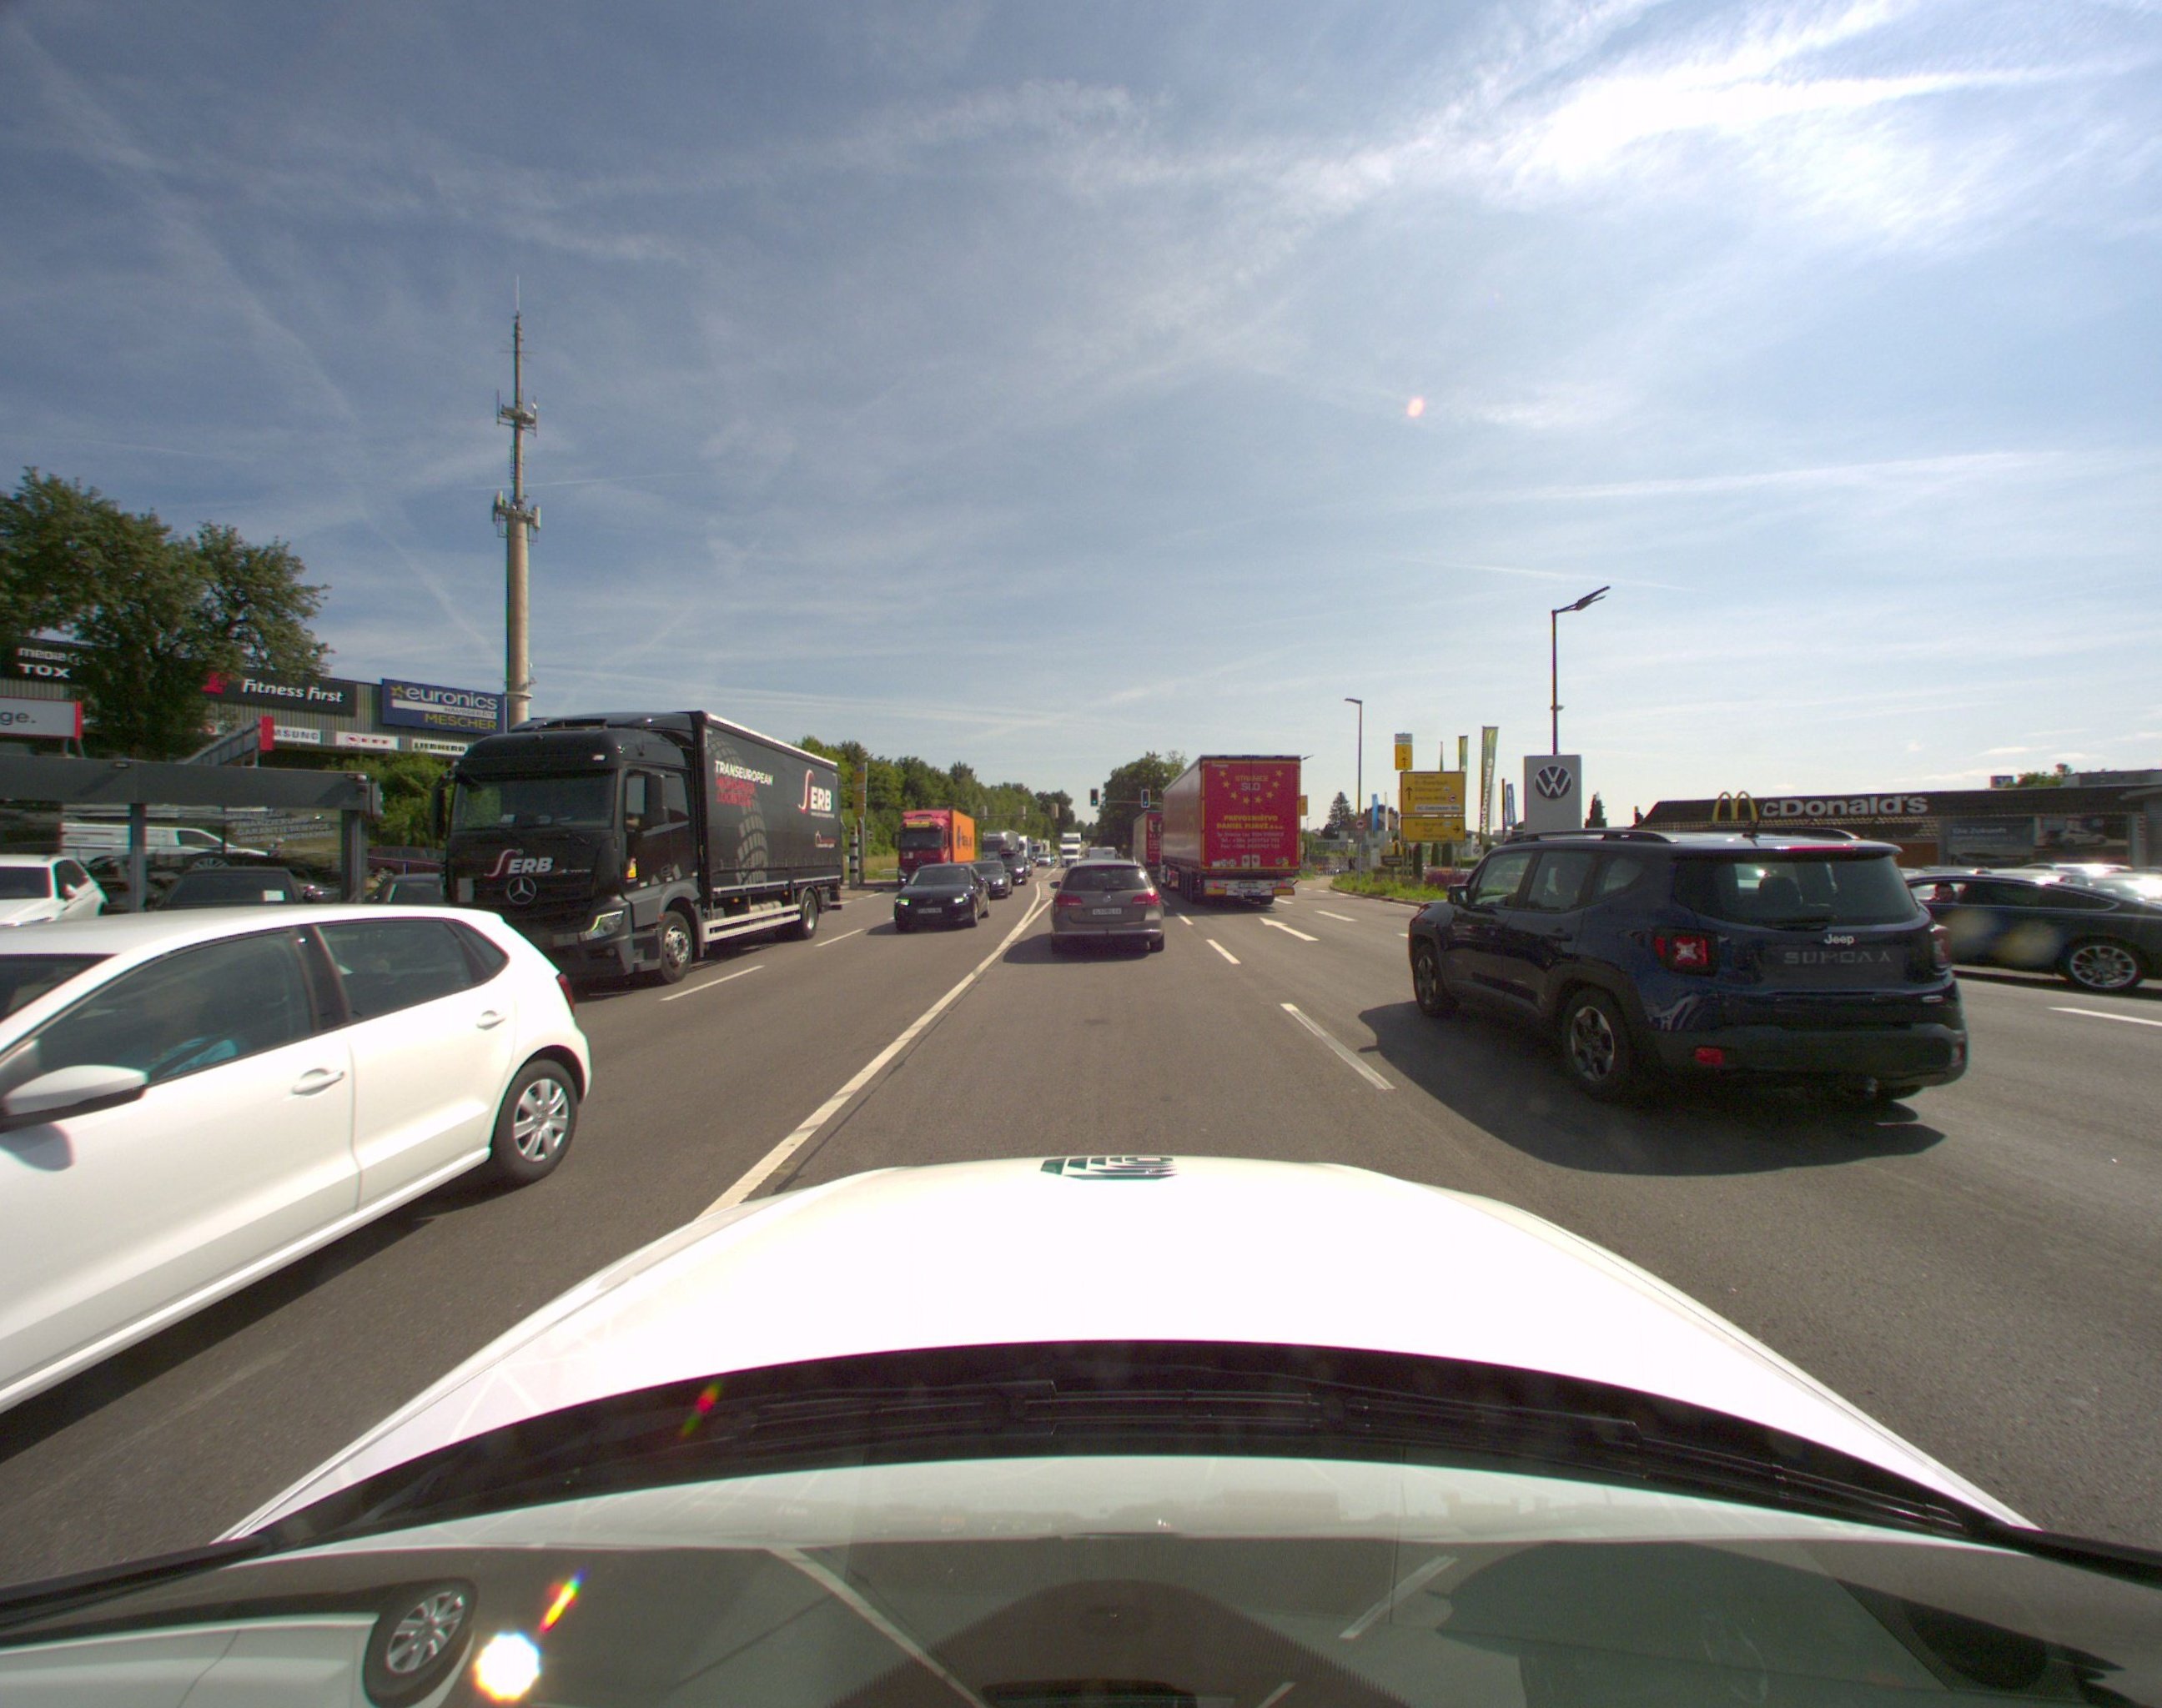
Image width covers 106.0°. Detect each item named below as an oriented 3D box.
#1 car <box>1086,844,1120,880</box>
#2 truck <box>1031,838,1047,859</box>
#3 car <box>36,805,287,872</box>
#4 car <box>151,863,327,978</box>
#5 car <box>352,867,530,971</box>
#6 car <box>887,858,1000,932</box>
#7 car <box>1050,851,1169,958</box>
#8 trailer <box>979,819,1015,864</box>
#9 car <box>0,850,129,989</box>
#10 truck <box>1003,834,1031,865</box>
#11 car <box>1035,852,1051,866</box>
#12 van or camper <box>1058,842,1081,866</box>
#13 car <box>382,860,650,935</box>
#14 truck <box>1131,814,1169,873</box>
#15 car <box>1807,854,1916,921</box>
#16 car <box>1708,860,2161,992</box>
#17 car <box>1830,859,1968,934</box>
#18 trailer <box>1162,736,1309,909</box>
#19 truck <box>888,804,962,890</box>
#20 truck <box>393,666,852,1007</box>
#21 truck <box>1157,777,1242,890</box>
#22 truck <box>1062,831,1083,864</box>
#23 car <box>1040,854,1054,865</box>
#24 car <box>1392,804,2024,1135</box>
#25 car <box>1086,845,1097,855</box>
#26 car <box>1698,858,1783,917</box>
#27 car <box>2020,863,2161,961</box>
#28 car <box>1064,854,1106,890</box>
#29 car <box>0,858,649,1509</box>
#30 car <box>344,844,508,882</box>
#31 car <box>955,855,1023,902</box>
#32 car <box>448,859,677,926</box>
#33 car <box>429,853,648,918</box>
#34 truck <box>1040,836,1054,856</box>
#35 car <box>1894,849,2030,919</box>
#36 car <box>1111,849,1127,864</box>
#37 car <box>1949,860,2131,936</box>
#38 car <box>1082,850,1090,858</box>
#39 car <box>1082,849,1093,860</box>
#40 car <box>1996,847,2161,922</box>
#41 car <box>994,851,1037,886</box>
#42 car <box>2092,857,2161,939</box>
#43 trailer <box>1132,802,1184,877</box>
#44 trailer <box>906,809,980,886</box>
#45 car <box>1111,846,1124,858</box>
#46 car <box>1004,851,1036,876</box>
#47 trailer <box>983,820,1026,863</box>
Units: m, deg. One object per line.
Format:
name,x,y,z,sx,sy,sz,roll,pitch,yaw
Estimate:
car,1.246,0.455,47.672,1.765,1.936,3.976,-1,0,-1
truck,-8.079,-1.039,157.398,2.721,3.999,9.616,-1,0,-1
car,-31.696,-0.454,28.434,5.545,2.042,2.043,3,-1,-43
car,-13.902,0.957,13.521,4.291,1.486,1.810,1,1,44
car,-11.649,1.032,14.695,4.583,1.436,1.986,1,1,45
car,-3.131,0.884,19.437,1.705,1.443,4.381,-3,0,2
car,0.392,0.736,13.831,1.686,1.513,3.998,-1,0,-1
trailer,-8.122,-1.169,79.567,2.635,4.105,6.183,-1,0,2
car,-15.840,0.847,11.928,1.903,1.748,4.416,0,1,-42
truck,-8.619,-0.590,110.073,3.178,4.079,6.343,-1,0,-1
car,-4.670,0.601,100.918,1.837,1.732,4.587,1,1,-1
van or camper,-1.259,-0.012,91.781,2.323,2.600,6.978,-1,0,0
car,-12.548,0.963,18.481,4.732,1.475,1.874,2,-1,-32
truck,5.006,-0.737,59.779,2.397,4.127,5.523,-1,0,1
car,21.963,0.890,23.058,1.753,1.671,3.935,-1,0,37
car,11.988,0.916,11.445,1.977,1.332,4.758,5,-1,-44
car,19.532,0.937,19.622,1.753,1.532,4.116,-1,0,37
trailer,4.584,-0.800,27.226,2.828,4.365,13.173,1,0,2
truck,-7.809,-0.332,41.428,2.714,3.998,6.052,-1,0,-2
truck,-6.858,-0.219,14.688,2.703,3.998,9.971,-1,0,-1
truck,4.808,-0.780,34.121,2.859,4.281,5.841,1,0,2
truck,-1.093,-0.756,105.416,2.530,4.087,6.262,-1,0,-1
car,-4.908,0.750,117.571,1.989,1.485,4.449,-1,0,-3
car,3.963,0.591,6.165,1.764,1.654,4.001,-1,0,2
car,2.124,-0.812,167.636,1.987,2.013,3.999,-1,0,-1
car,19.958,0.951,24.785,1.837,1.576,4.260,-1,0,37
car,19.187,0.970,14.911,1.727,1.491,4.291,-1,0,37
car,0.150,0.794,37.272,1.765,1.513,3.998,-1,0,-1
car,-3.462,0.846,2.869,1.648,1.555,4.000,-3,0,0
car,-26.377,0.411,32.915,5.001,1.419,1.926,3,-3,-43
car,-3.403,0.855,30.990,1.854,1.524,4.591,-2,1,2
car,-13.263,0.963,20.995,4.739,1.513,1.933,2,-1,-39
car,-14.967,0.874,22.630,4.821,1.626,1.909,3,-2,-40
truck,-7.342,-1.712,176.329,2.821,4.116,9.677,-1,0,-1
car,23.849,0.740,22.211,1.753,1.671,4.197,-1,0,37
car,5.401,0.309,114.997,1.987,2.013,3.999,-1,0,-1
car,21.561,0.906,18.520,1.773,1.450,4.181,-1,0,37
car,1.253,0.024,201.811,1.987,2.013,3.999,-1,0,-1
car,1.127,0.110,149.517,1.987,2.013,3.999,-1,0,-1
car,25.642,0.698,20.912,1.888,1.671,4.849,-1,0,37
car,-3.421,0.725,43.153,1.903,1.602,4.587,-3,1,-1
car,22.729,0.866,16.563,1.753,1.518,3.985,-1,0,37
trailer,4.788,-0.839,52.811,2.386,4.243,13.082,-1,0,1
trailer,-8.053,-0.328,49.080,2.714,3.998,12.224,-1,0,-2
car,6.201,-0.386,139.171,1.987,2.013,3.999,-1,0,-1
car,-4.365,0.679,59.001,1.915,1.602,4.587,-2,1,-1
trailer,-7.910,-1.208,86.160,2.681,4.147,13.886,-1,0,2
